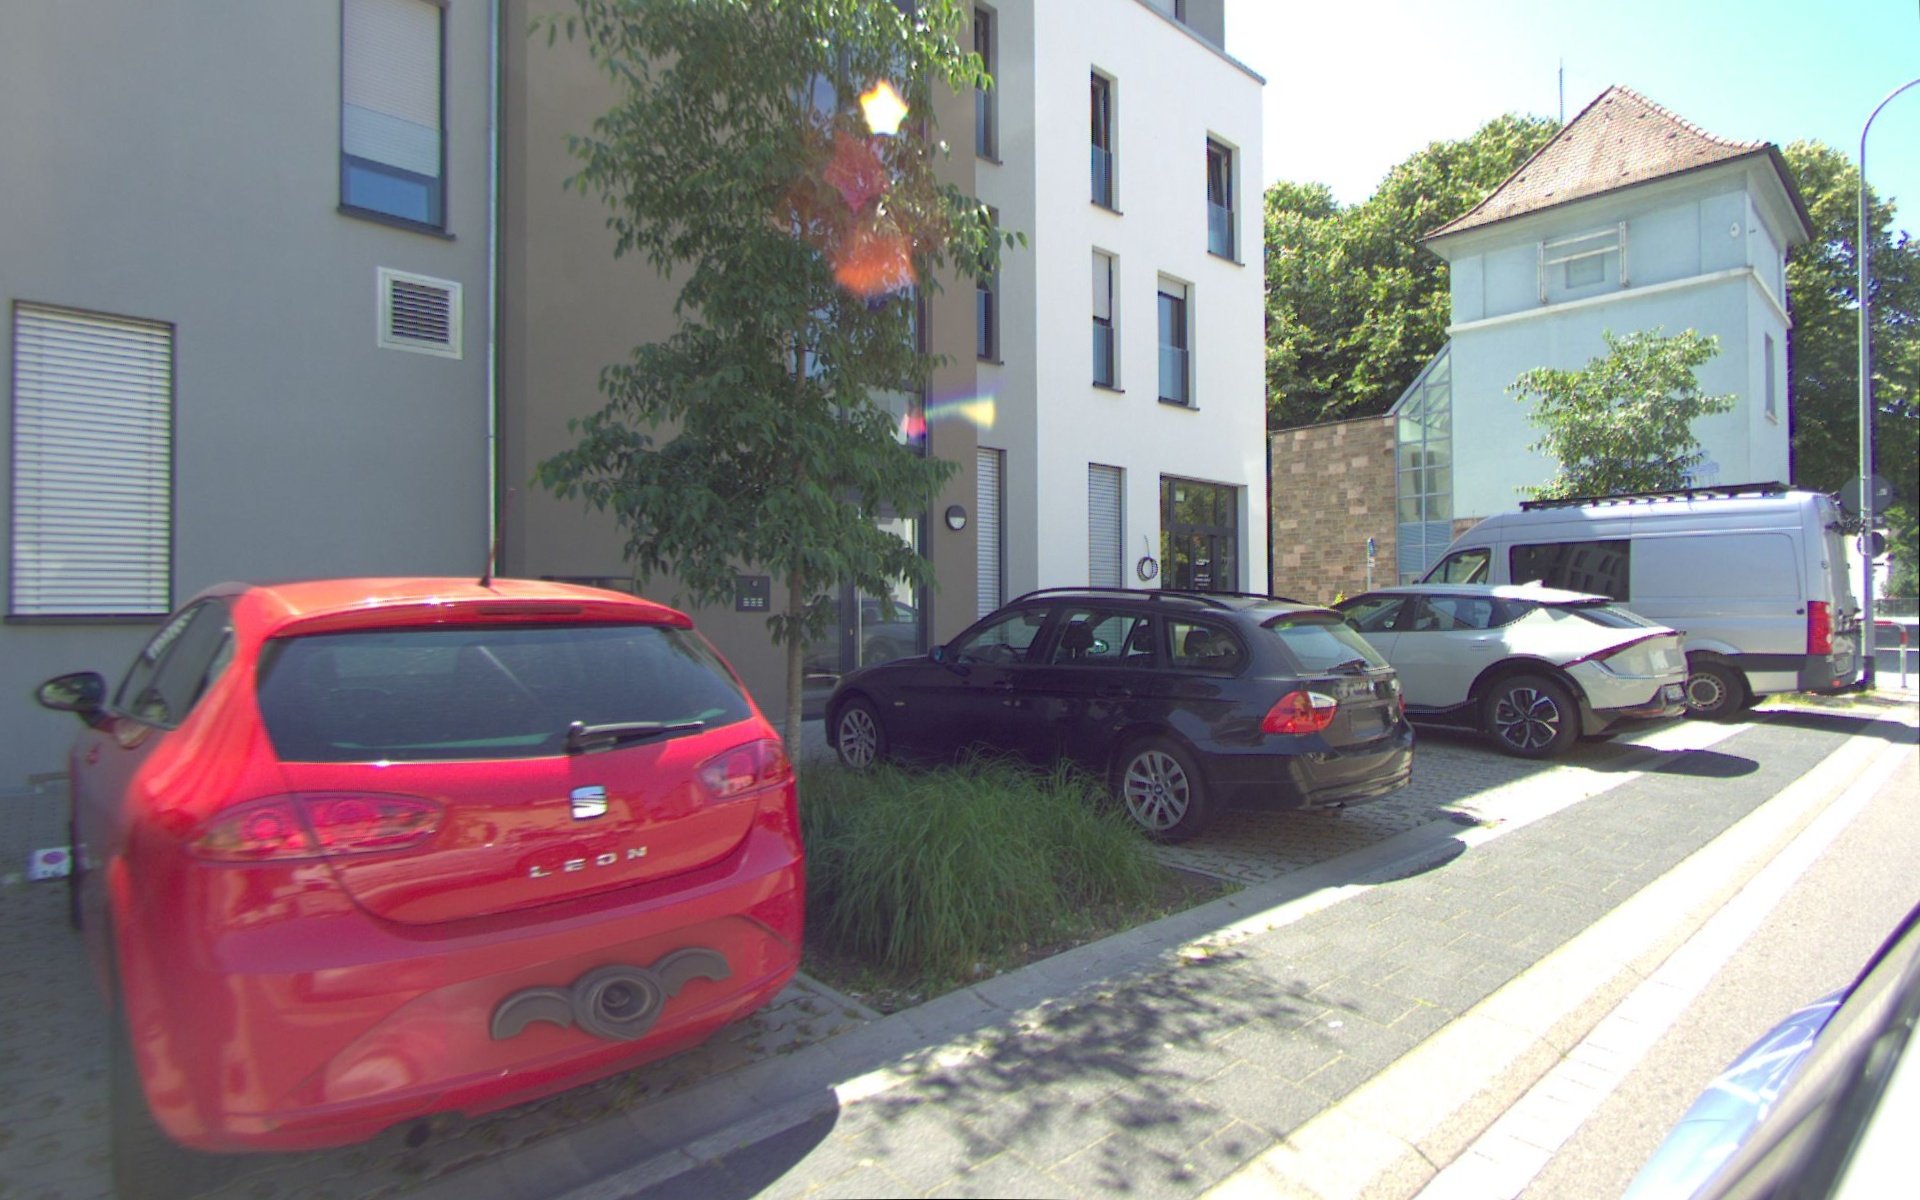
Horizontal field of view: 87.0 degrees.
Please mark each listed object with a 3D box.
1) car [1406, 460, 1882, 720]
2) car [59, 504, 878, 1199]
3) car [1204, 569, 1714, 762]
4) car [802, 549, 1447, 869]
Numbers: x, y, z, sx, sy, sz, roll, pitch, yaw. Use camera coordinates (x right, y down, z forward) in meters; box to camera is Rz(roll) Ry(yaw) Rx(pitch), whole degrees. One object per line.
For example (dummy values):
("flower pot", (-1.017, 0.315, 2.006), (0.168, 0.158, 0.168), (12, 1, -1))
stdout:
("car", (8.641, -0.117, 13.208), (1.819, 2.771, 4.862), (0, 0, -41))
("car", (-2.110, 0.573, 3.648), (1.624, 1.481, 3.812), (0, 0, -43))
("car", (4.826, 0.520, 10.326), (1.690, 1.549, 4.376), (0, 0, -42))
("car", (0.847, 0.527, 7.084), (4.348, 1.570, 1.625), (0, 0, 45))
